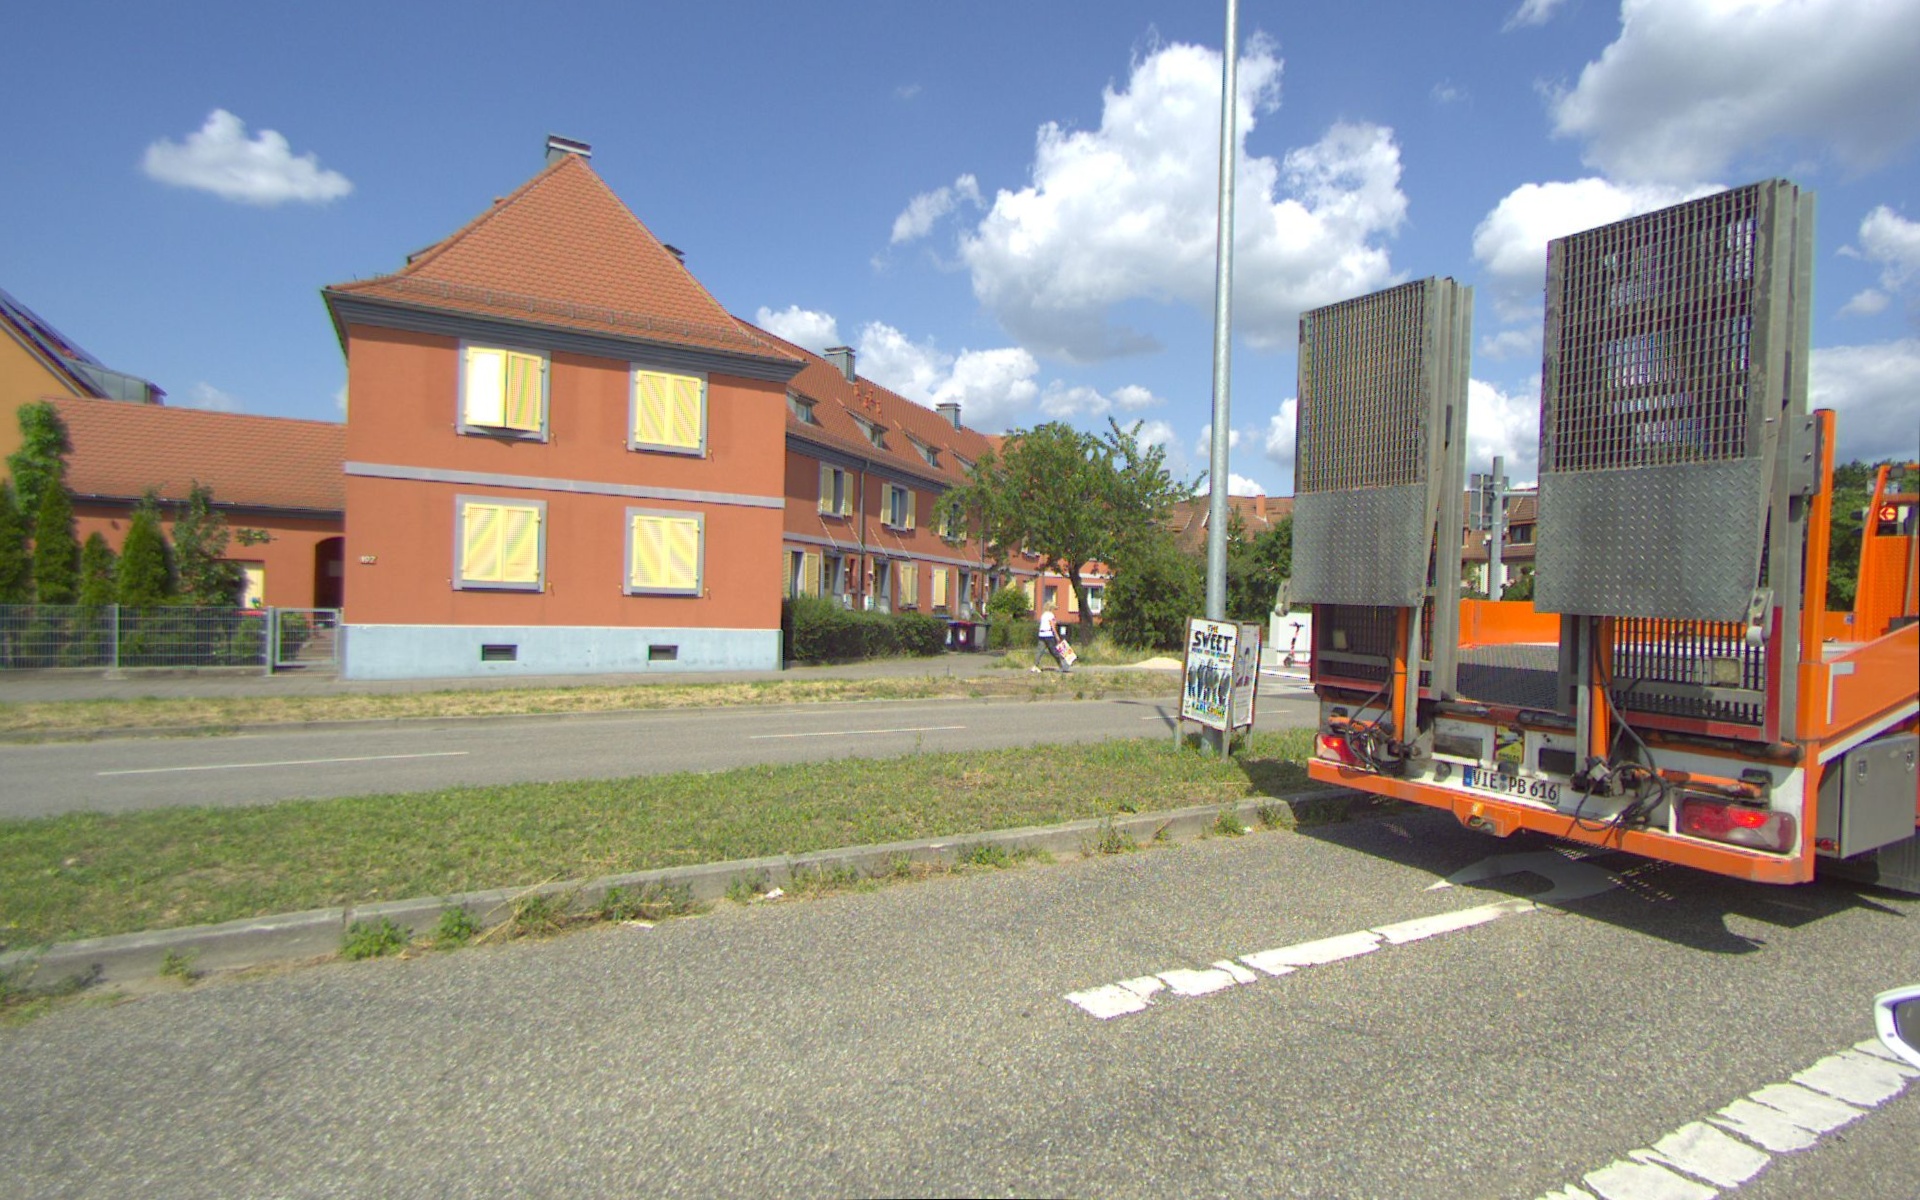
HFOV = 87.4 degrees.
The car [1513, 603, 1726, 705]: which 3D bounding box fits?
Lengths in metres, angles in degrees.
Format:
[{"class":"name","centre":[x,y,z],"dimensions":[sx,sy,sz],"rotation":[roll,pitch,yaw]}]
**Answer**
[{"class":"car","centre":[12.329,0.959,18.729],"dimensions":[3.954,1.711,1.785],"rotation":[1,-1,-31]}]

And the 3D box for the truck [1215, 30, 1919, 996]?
[{"class":"truck","centre":[7.101,-0.163,7.762],"dimensions":[10.942,3.459,3.055],"rotation":[2,1,-31]}]

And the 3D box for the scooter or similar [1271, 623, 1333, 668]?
[{"class":"scooter or similar","centre":[9.466,1.268,27.772],"dimensions":[1.742,1.179,0.586],"rotation":[2,1,-32]}]

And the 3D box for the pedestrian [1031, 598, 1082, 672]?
[{"class":"pedestrian","centre":[2.177,0.786,22.744],"dimensions":[0.841,1.604,0.692],"rotation":[2,1,-31]}]
